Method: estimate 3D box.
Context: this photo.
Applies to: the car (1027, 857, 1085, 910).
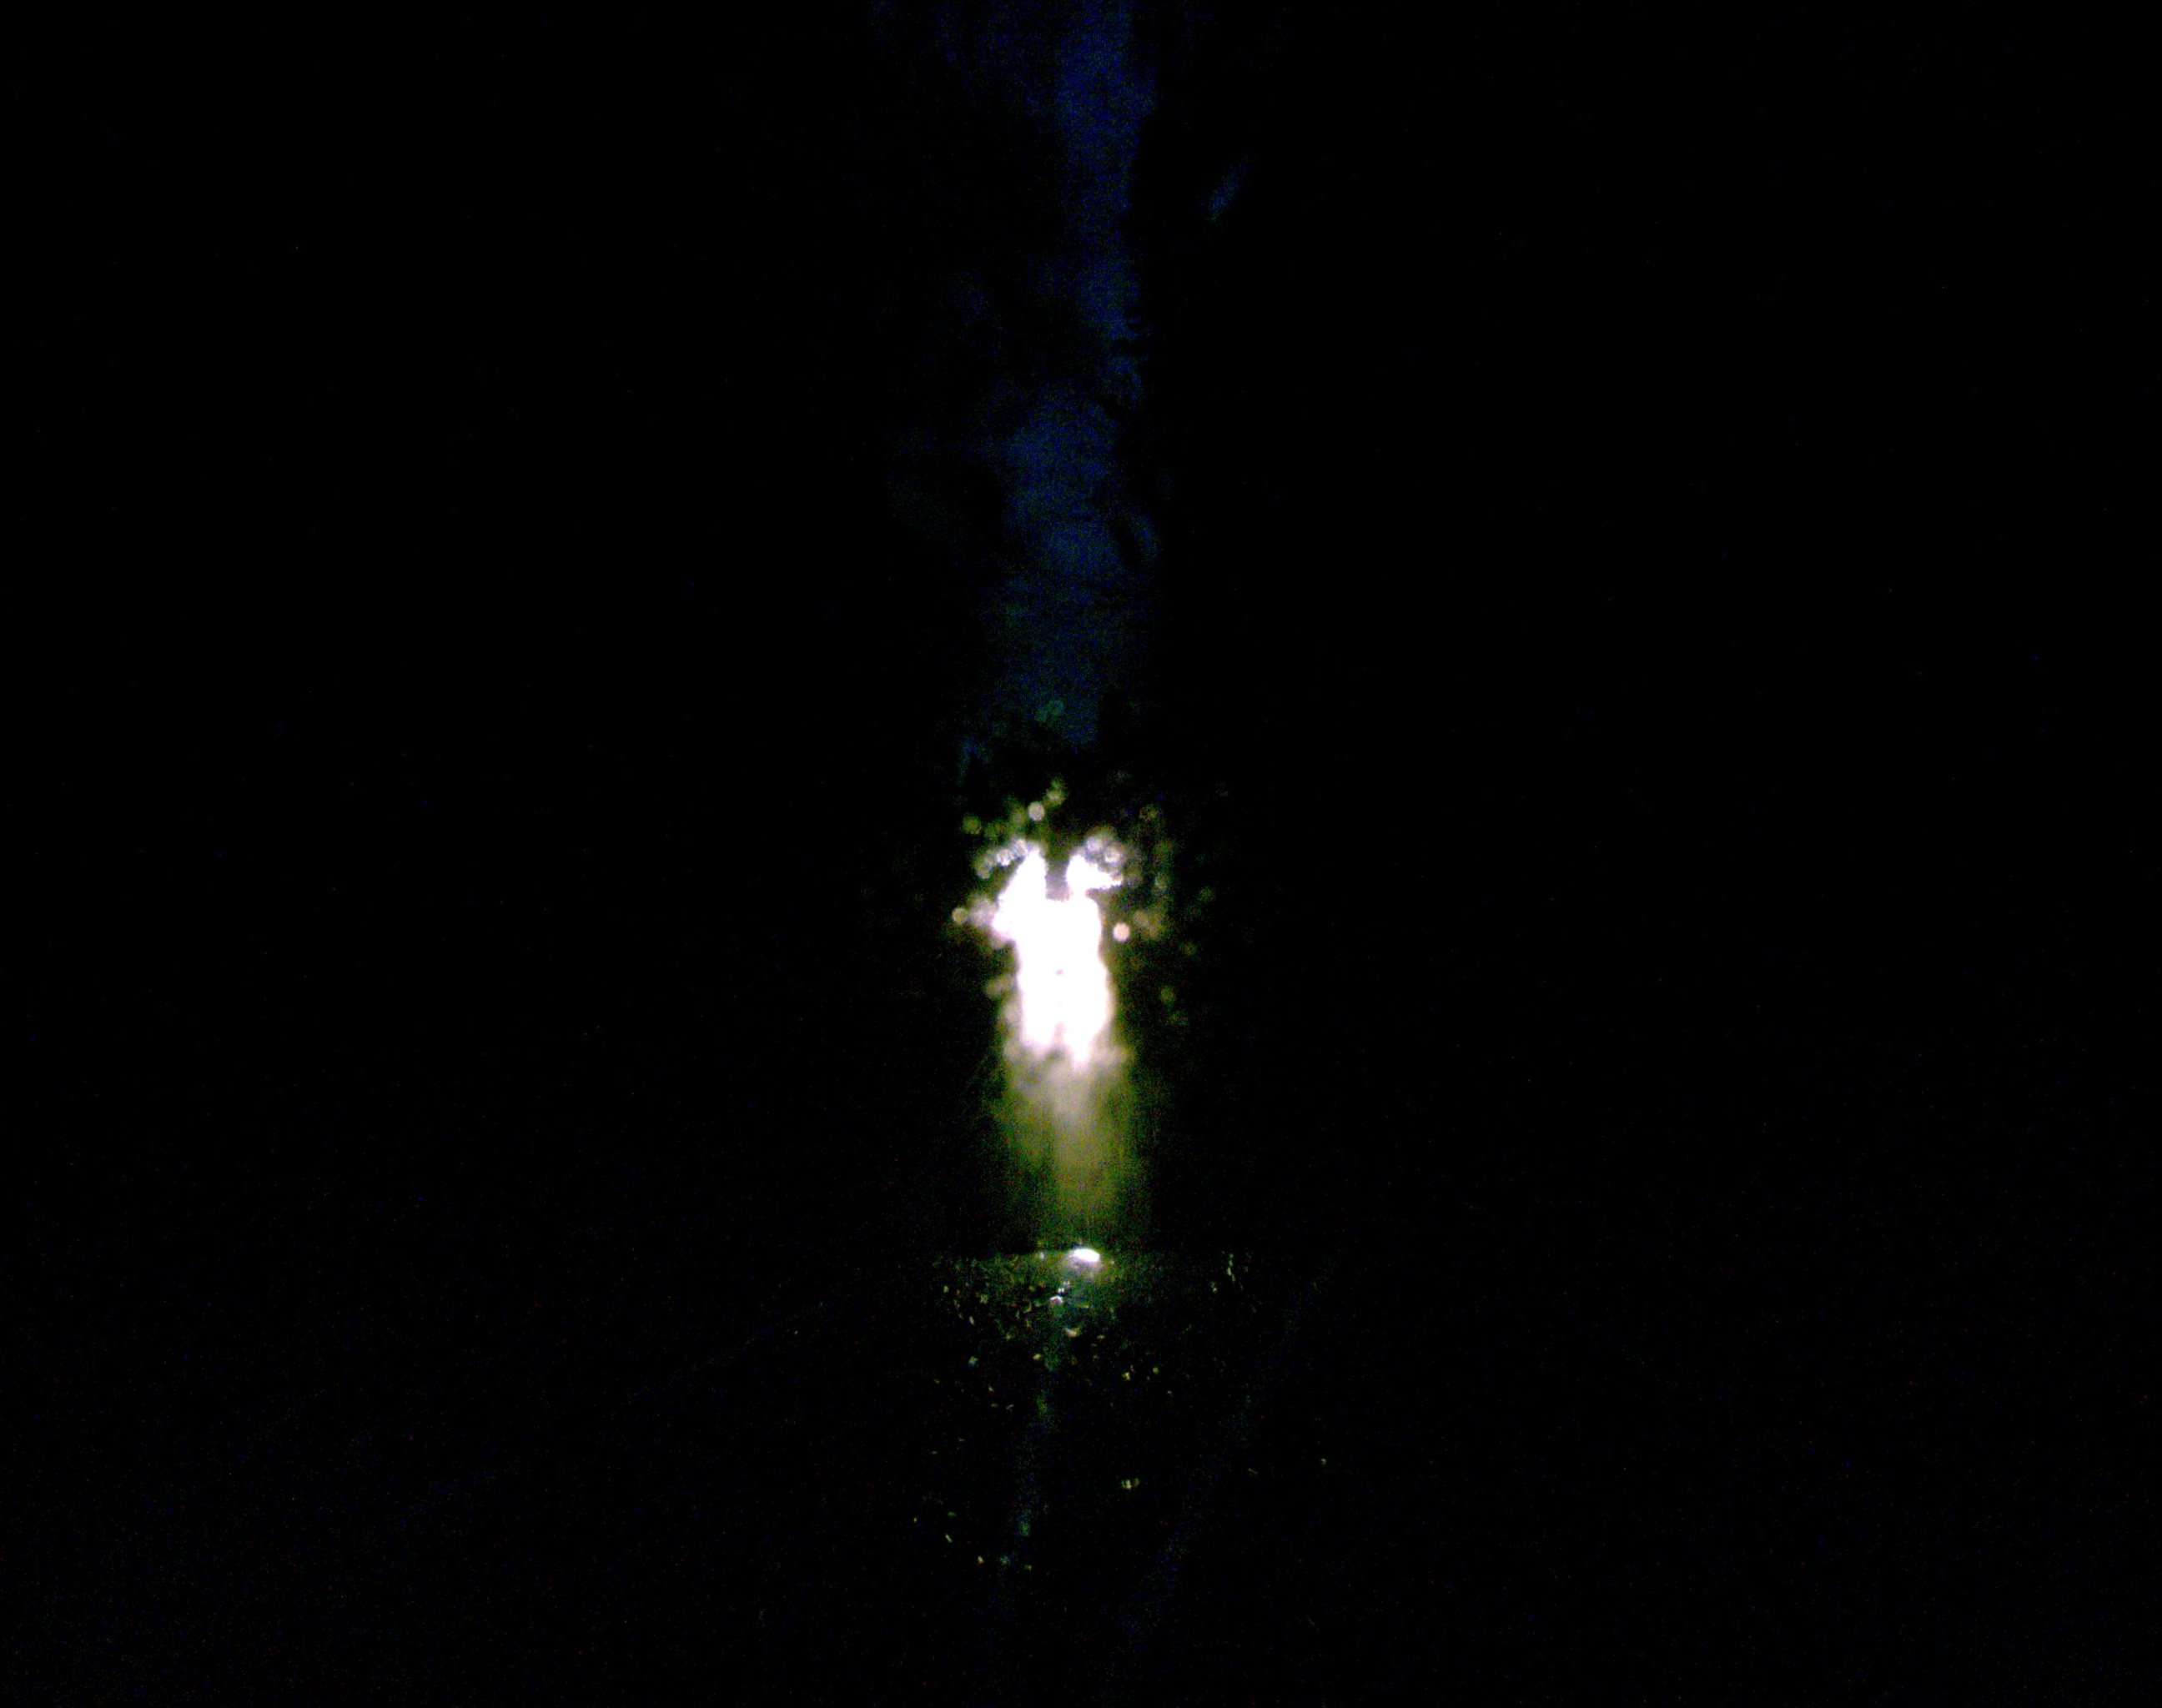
[{"bbox_3d":[-0.784,0.899,24.746,1.650,1.446,3.680,-4,0,-1],"label":"car"}]
